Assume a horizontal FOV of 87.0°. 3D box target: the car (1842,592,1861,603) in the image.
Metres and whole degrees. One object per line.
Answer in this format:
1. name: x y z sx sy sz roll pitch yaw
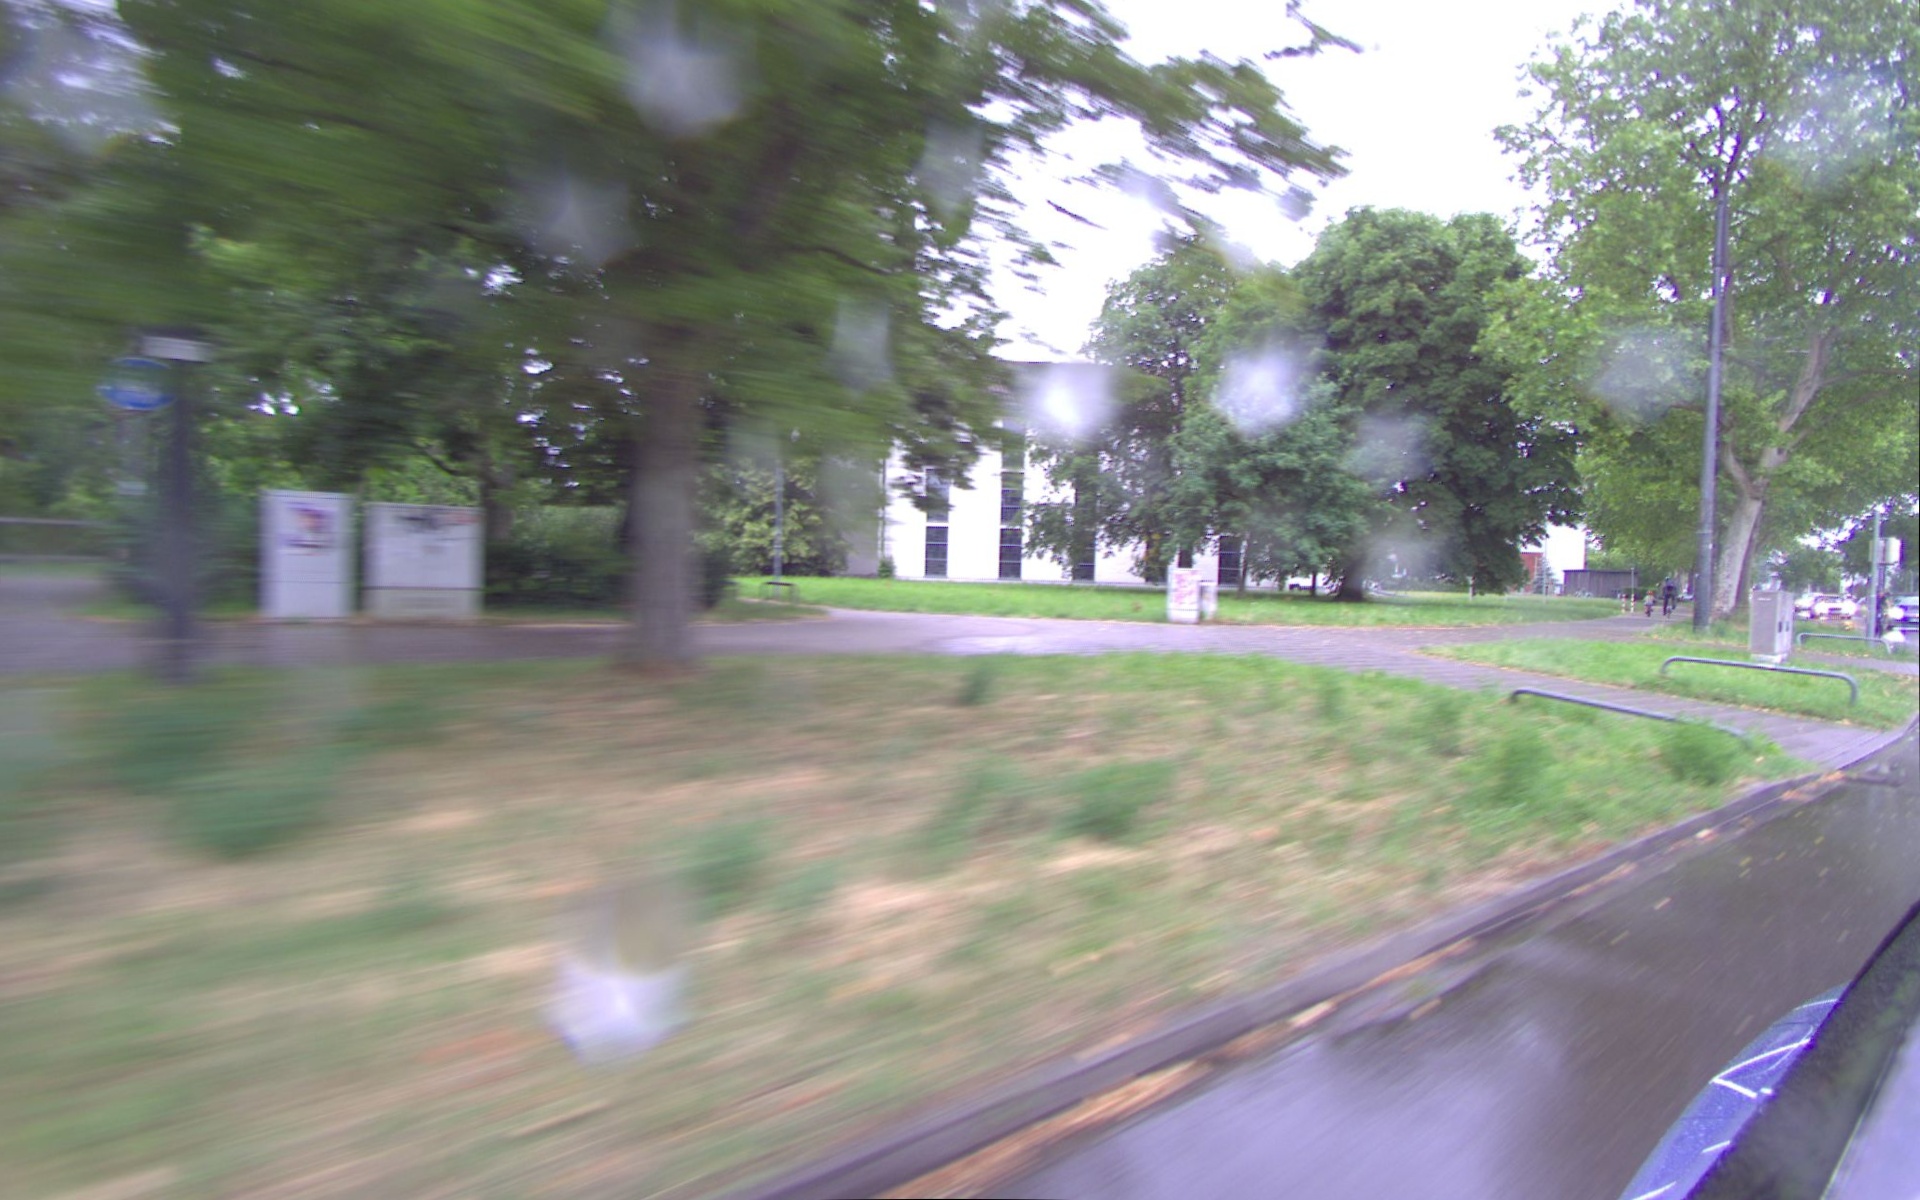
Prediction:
1. car: 138.498 -0.386 157.224 1.749 1.535 3.804 -1 0 36

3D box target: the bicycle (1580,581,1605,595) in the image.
1. bicycle: 54.060 -1.016 86.543 1.898 1.135 0.522 2 3 -10

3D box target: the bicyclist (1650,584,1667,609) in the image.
1. bicyclist: 31.225 -0.159 45.257 0.581 1.051 0.487 0 2 -42

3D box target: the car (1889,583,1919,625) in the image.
1. car: 41.517 0.169 43.661 1.759 1.747 3.881 0 0 37

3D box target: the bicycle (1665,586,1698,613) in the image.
1. bicycle: 31.861 -0.023 44.681 1.937 1.156 0.713 0 2 -41

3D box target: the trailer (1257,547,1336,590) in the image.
1. trailer: 19.946 -1.871 60.031 3.942 2.337 1.894 2 2 -2

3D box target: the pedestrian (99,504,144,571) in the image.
1. pedestrian: -22.255 -1.639 26.850 0.840 1.715 1.033 0 2 -44

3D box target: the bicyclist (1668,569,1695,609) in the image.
1. bicyclist: 31.853 -0.497 44.654 0.940 1.742 0.713 0 2 -41

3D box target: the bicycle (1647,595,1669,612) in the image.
1. bicycle: 31.222 0.166 45.275 1.433 0.717 0.487 -1 3 -42

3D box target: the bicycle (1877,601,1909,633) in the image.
1. bicycle: 32.962 0.592 35.781 0.656 1.026 2.225 3 3 39

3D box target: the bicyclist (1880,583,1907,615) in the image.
1. bicyclist: 32.928 -0.031 35.708 0.619 1.098 0.615 3 2 40

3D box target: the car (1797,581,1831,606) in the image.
1. car: 66.444 -0.530 78.773 1.759 1.746 3.882 3 3 37

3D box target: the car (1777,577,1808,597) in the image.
1. car: 76.916 -1.192 93.530 1.757 1.746 3.887 3 3 34

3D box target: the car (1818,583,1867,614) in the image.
1. car: 52.913 -0.137 60.720 1.757 1.746 3.885 1 1 35
